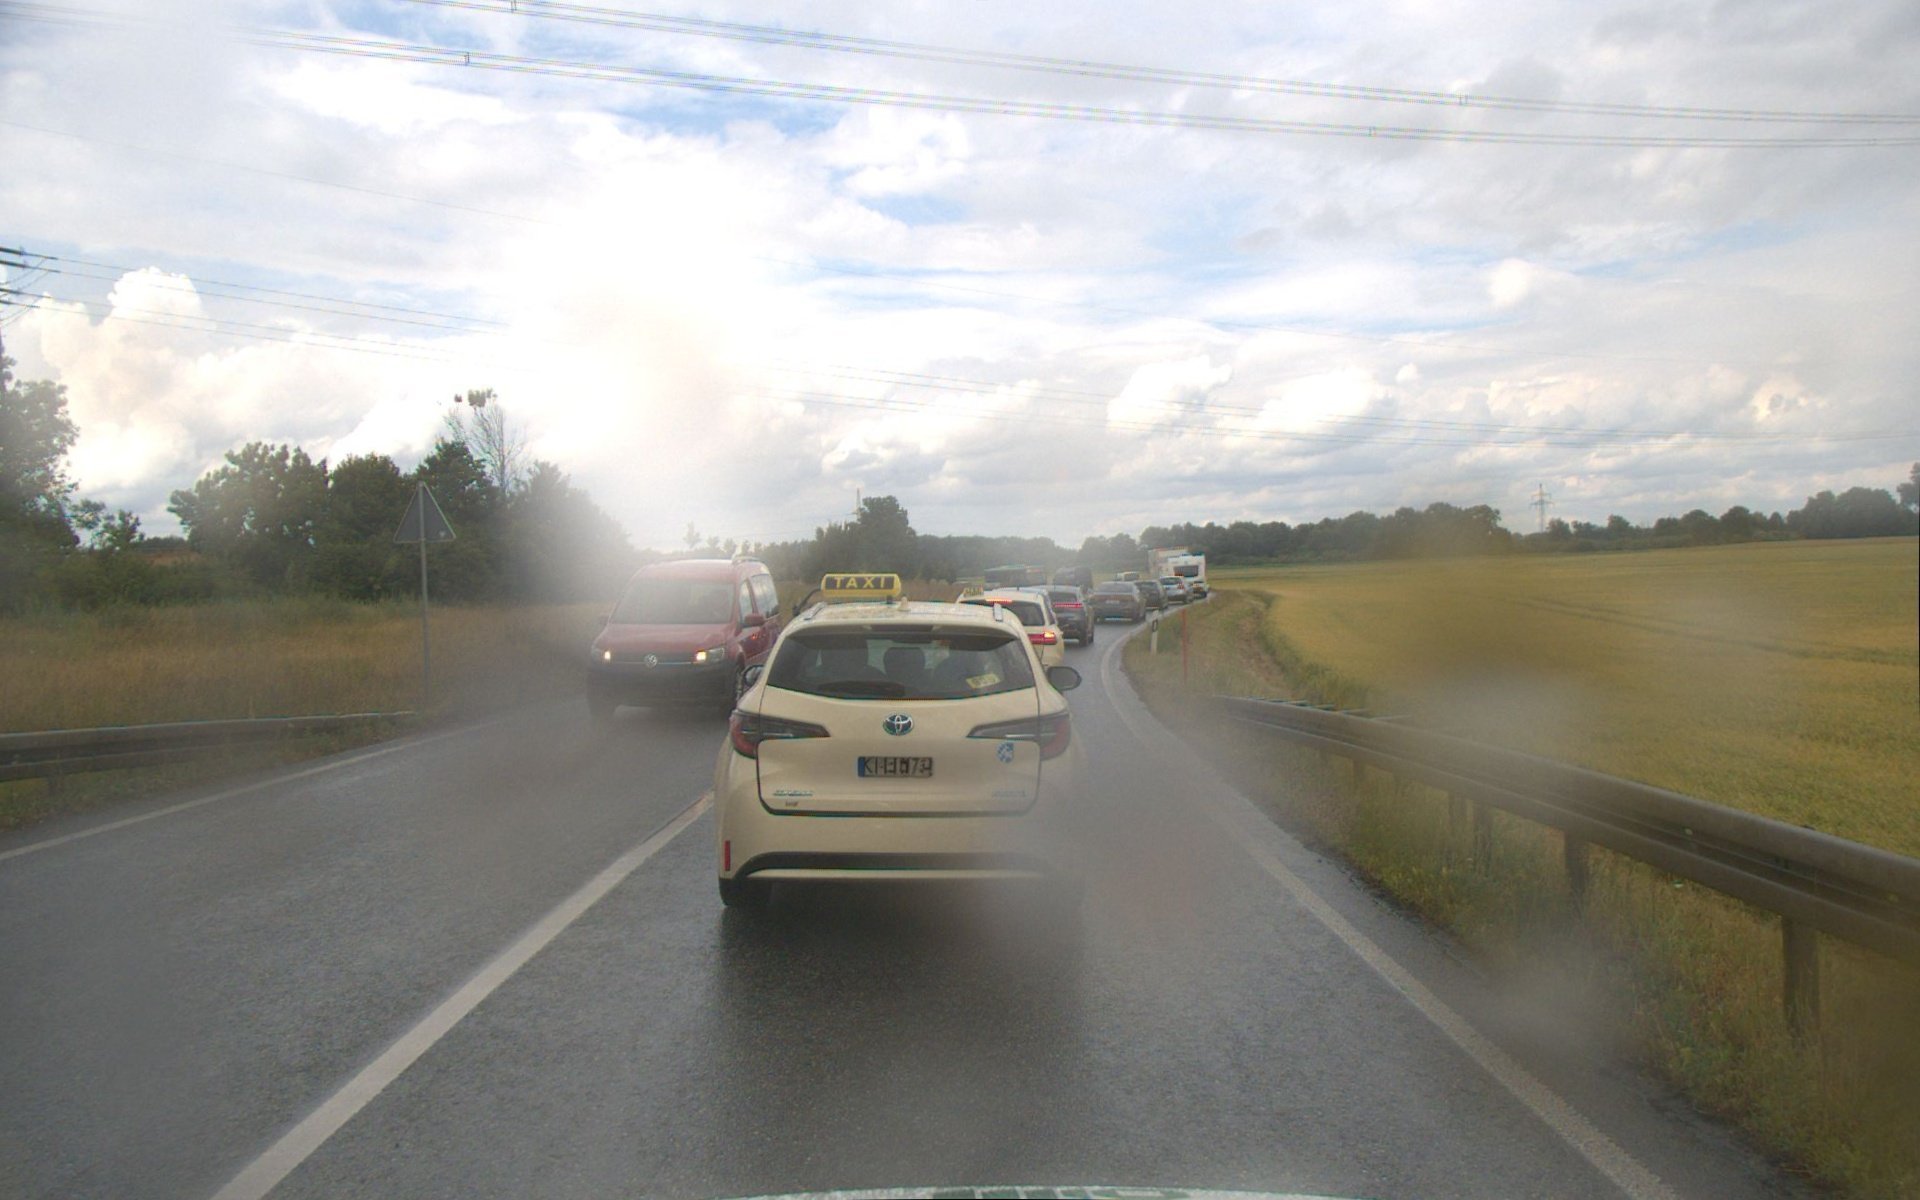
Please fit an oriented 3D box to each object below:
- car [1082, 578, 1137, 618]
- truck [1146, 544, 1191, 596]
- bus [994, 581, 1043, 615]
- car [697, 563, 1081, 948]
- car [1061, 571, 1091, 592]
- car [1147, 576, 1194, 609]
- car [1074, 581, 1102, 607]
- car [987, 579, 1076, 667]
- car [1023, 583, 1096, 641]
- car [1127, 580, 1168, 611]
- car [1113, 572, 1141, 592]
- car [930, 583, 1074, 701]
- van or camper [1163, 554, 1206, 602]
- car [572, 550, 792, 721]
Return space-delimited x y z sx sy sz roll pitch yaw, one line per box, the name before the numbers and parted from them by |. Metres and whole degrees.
car | 5.675 -0.059 62.449 1.918 1.438 4.395 1 0 7
truck | 16.636 -2.336 132.359 3.061 3.920 7.389 1 0 3
bus | 6.016 -0.287 172.336 2.707 3.355 12.475 0 1 -9
car | -0.348 0.659 8.758 1.580 1.589 3.737 1 0 -2
car | 11.729 -1.863 167.497 1.711 2.049 4.130 1 0 -15
car | 11.412 -0.397 89.643 1.918 1.759 3.740 1 0 17
car | 10.469 -0.482 135.743 1.953 2.049 4.245 1 0 0
car | 1.530 0.450 34.085 1.578 1.688 3.741 1 0 6
car | 2.646 0.313 43.134 1.578 1.438 3.741 1 0 8
car | 8.966 -0.208 78.848 1.786 1.438 3.741 1 0 9
car | 15.266 -1.635 151.465 1.846 1.804 4.155 1 0 -5
car | 0.714 0.522 24.145 1.802 1.518 4.611 1 1 5
van or camper | 14.230 -1.407 104.498 2.482 2.946 6.749 0 1 9
car | -3.299 0.402 20.517 1.763 1.883 4.522 0 0 3
